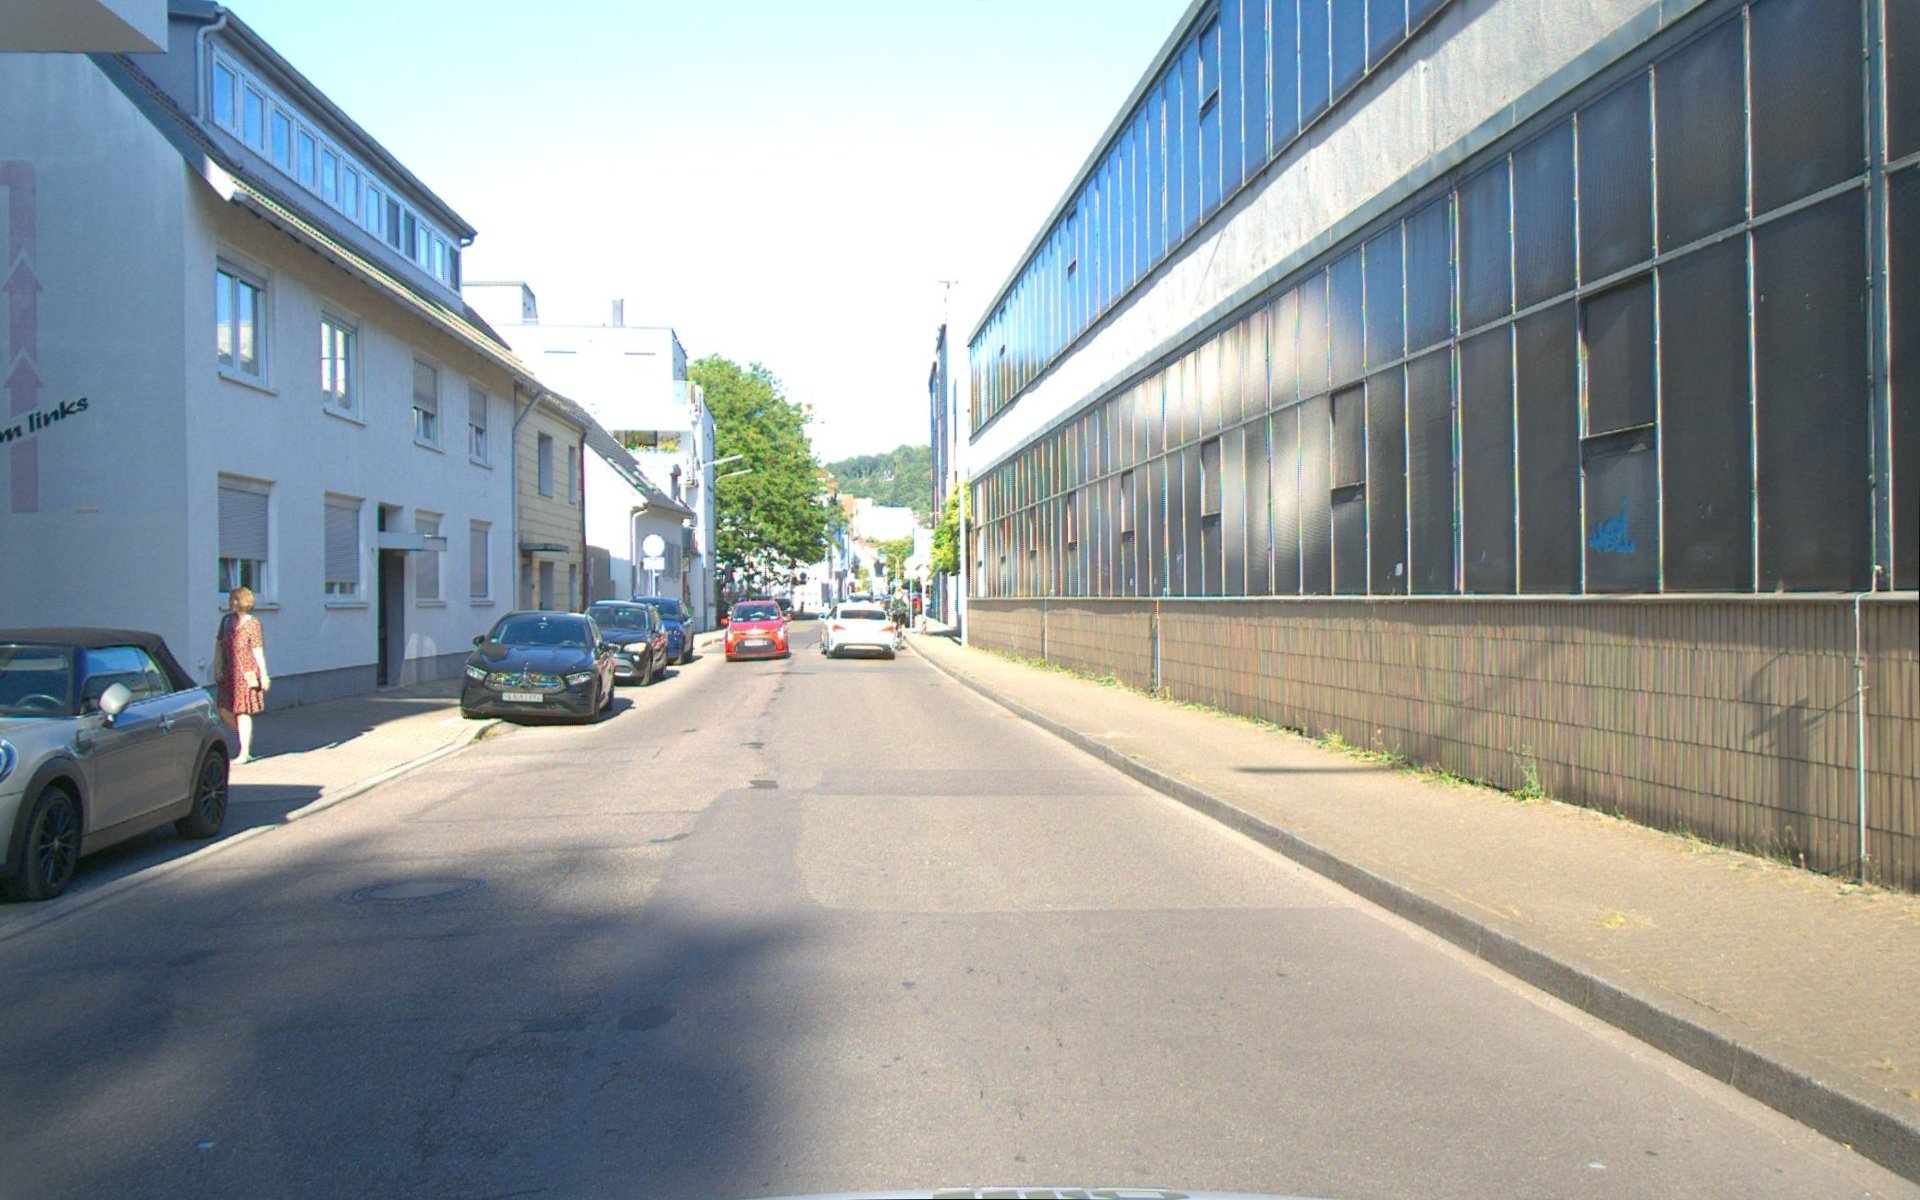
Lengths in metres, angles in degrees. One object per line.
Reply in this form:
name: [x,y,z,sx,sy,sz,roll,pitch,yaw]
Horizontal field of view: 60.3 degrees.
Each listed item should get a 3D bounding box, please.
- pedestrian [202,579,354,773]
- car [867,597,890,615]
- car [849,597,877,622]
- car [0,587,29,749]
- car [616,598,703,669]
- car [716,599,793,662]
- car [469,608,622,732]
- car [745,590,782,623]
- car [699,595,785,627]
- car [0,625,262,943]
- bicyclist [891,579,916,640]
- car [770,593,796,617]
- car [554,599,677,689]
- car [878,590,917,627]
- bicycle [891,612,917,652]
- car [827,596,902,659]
pedestrian: [-6.831,0.730,16.613,0.843,1.850,1.132,2,0,19]
car: [-7.090,0.555,144.752,1.805,1.517,4.143,-1,0,-1]
car: [-7.256,0.690,123.248,1.818,1.822,4.601,-1,0,-7]
car: [-12.078,0.830,16.312,4.518,1.666,2.012,-3,1,-7]
car: [-7.561,0.805,41.987,1.773,1.614,4.189,0,1,-5]
car: [-5.319,0.762,43.197,1.806,1.517,4.139,-1,0,-5]
car: [-5.700,0.895,23.159,1.653,1.562,4.326,0,0,-8]
car: [-11.468,0.365,96.856,1.816,1.822,4.604,-1,0,-3]
car: [-10.982,0.542,83.536,4.045,1.517,1.848,-1,0,2]
car: [-5.765,0.959,10.153,1.635,1.563,3.852,0,0,-6]
bicyclist: [-1.706,0.286,49.966,0.684,1.821,1.040,-1,0,-4]
car: [-12.290,0.350,115.149,1.671,1.603,3.910,-1,0,-5]
car: [-6.818,0.825,33.112,1.821,1.614,4.332,0,1,-4]
car: [-3.039,0.401,80.120,1.598,1.614,4.065,-5,0,-5]
bicycle: [-1.704,0.945,50.028,0.684,1.150,2.401,-1,0,-3]
car: [-2.560,0.702,43.610,1.806,1.517,4.139,-1,0,-6]
